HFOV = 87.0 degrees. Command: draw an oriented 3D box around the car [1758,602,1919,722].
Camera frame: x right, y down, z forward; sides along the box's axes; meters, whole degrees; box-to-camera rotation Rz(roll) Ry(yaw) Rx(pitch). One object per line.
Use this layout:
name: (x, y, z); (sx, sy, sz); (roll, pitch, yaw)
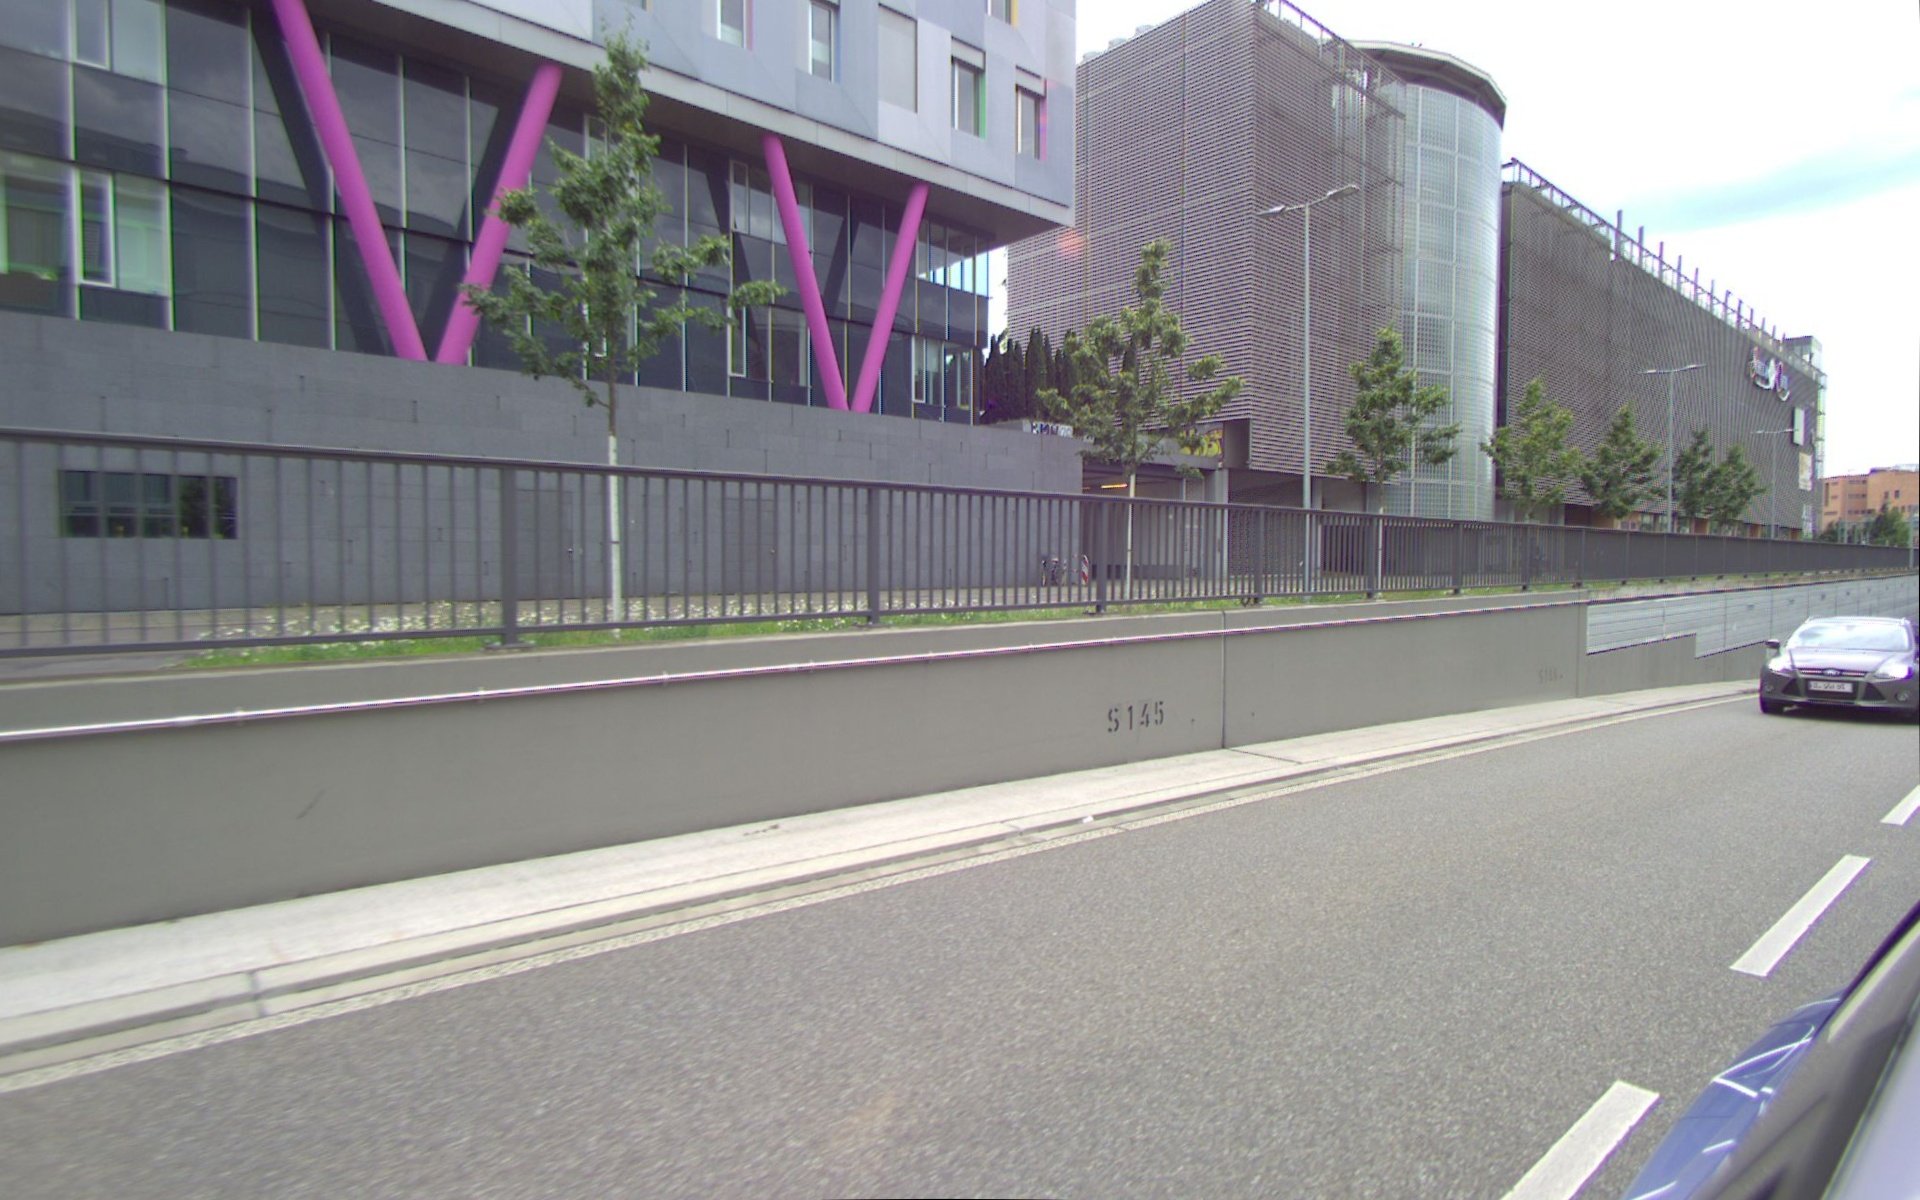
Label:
car: (13.587, 0.842, 15.184); (4.193, 1.518, 1.751); (1, 0, -41)
